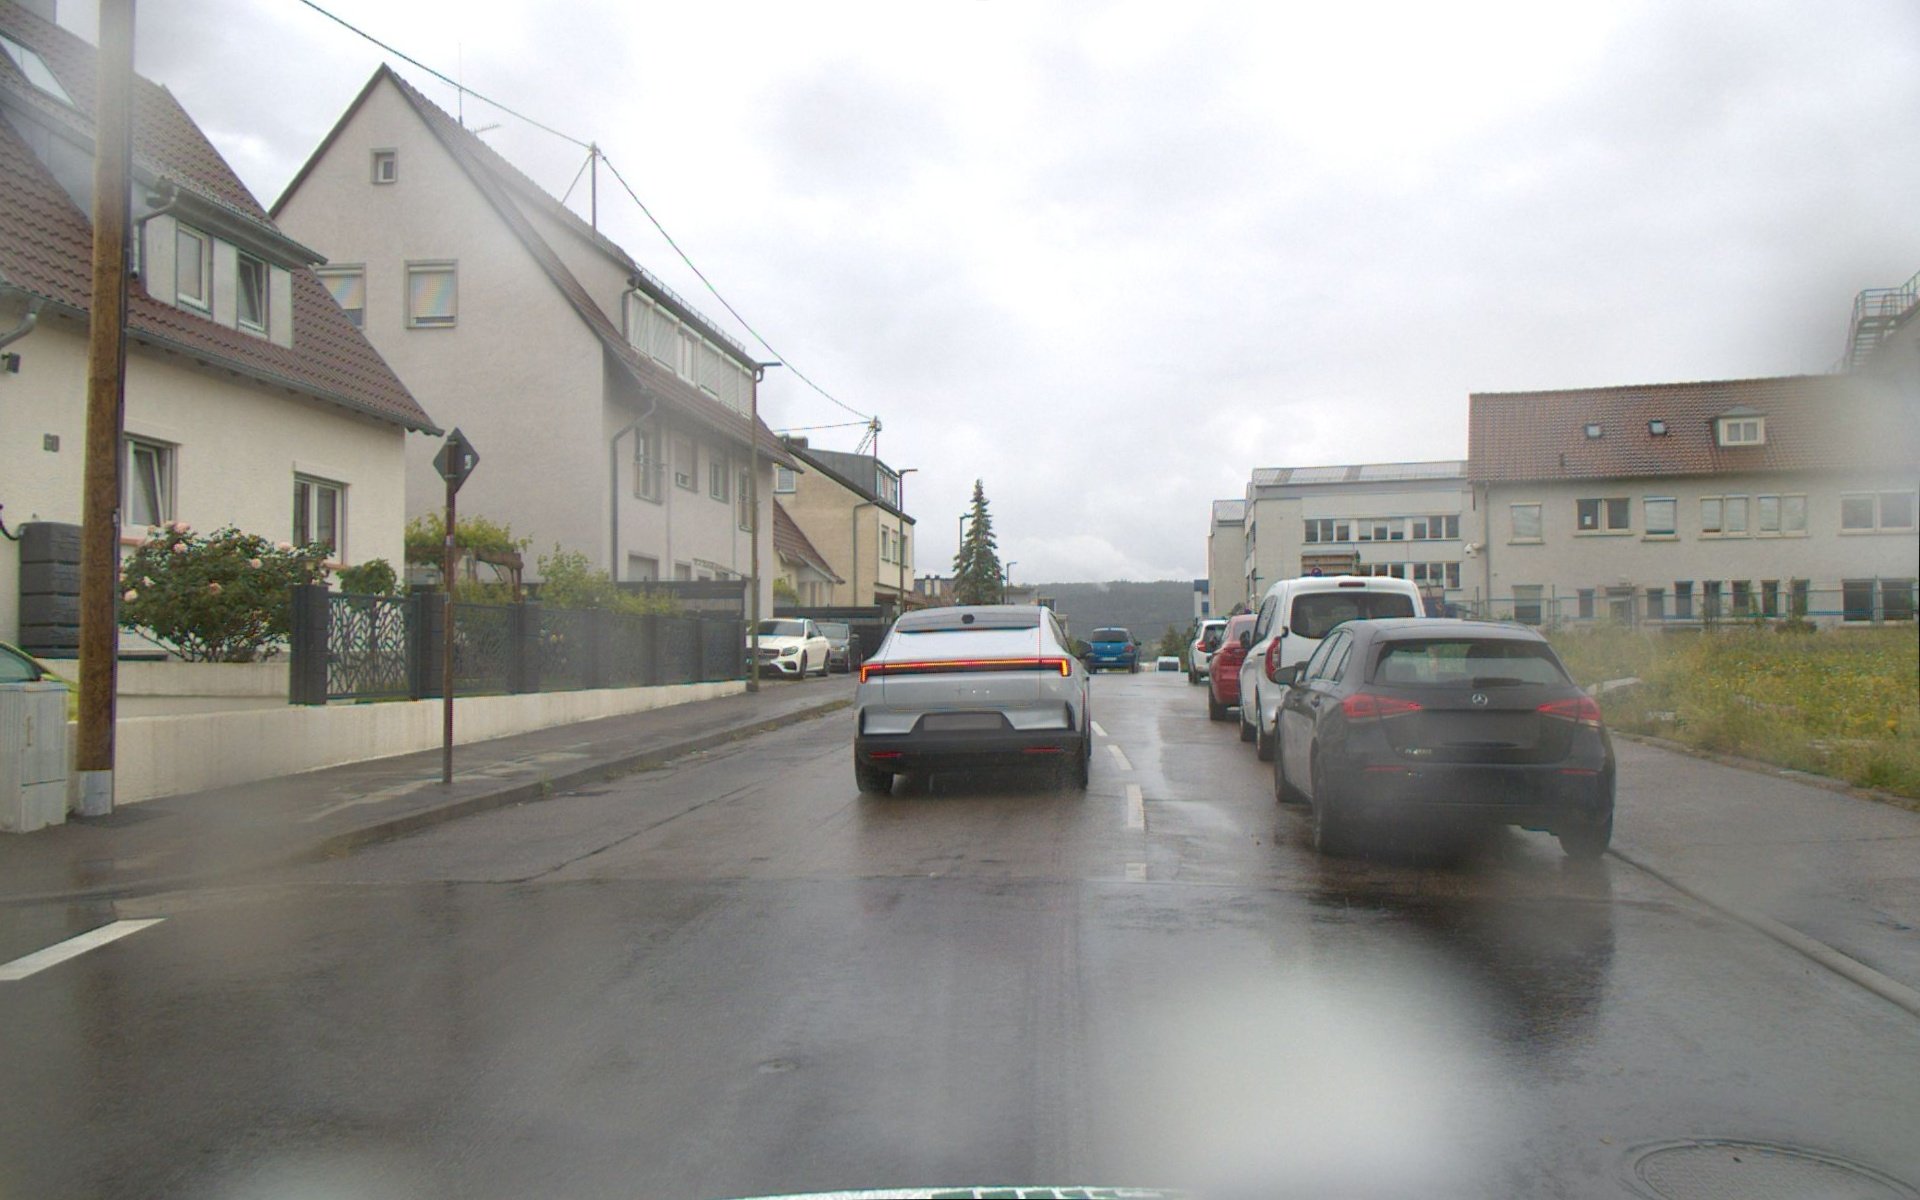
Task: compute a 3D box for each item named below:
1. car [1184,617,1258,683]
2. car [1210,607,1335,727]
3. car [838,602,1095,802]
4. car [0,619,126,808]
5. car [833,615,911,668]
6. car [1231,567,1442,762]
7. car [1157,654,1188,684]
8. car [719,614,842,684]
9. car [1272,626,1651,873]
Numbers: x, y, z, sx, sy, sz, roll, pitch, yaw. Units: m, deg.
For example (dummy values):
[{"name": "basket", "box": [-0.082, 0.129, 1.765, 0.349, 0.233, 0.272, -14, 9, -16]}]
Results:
[{"name": "car", "box": [6.618, 1.265, 42.204, 1.646, 1.585, 3.676, 1, -1, 6]}, {"name": "car", "box": [4.585, 0.941, 24.721, 1.607, 1.602, 4.647, 0, -1, 8]}, {"name": "car", "box": [0.231, 0.821, 15.052, 1.951, 1.528, 4.672, 0, -1, 5]}, {"name": "car", "box": [-8.447, 0.889, 12.972, 1.741, 1.493, 3.459, 0, -2, 7]}, {"name": "car", "box": [-2.529, 1.193, 48.500, 1.789, 1.392, 4.570, 3, -1, 2]}, {"name": "car", "box": [3.996, 0.647, 18.207, 1.731, 1.857, 4.577, 1, -1, 6]}, {"name": "car", "box": [15.762, 5.152, 122.964, 1.952, 2.049, 4.000, -1, -5, 3]}, {"name": "car", "box": [-4.363, 1.183, 41.108, 1.951, 1.536, 4.898, 3, -1, 6]}, {"name": "car", "box": [3.225, 0.870, 11.476, 1.731, 1.359, 4.323, 1, -1, 6]}]
